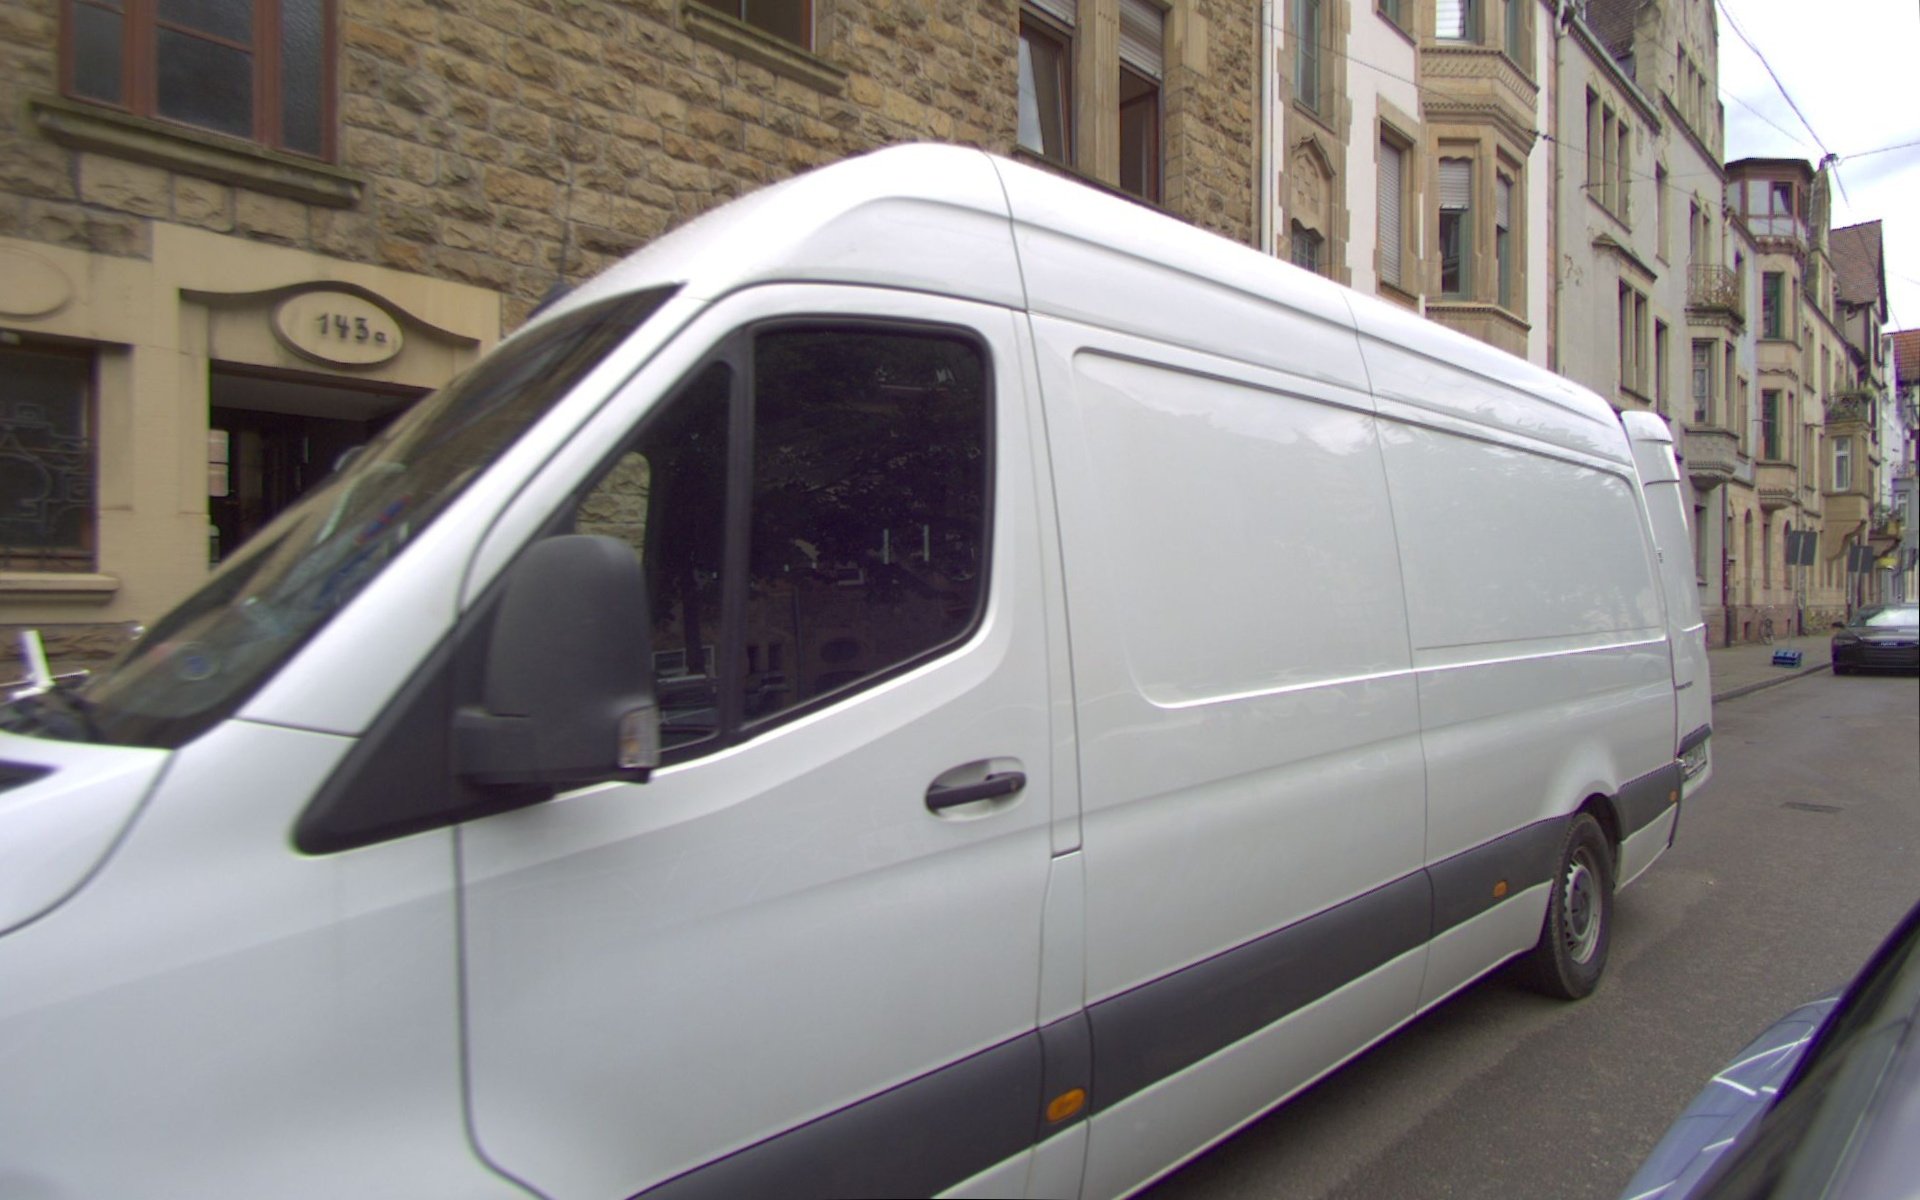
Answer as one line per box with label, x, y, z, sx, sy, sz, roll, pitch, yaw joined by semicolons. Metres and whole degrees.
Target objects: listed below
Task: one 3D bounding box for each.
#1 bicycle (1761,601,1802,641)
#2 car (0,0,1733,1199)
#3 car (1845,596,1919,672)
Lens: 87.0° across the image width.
bicycle;24.077;0.605;29.646;1.883;1.141;0.611;0;-3;-43
car;0.455;0.193;3.408;6.894;2.582;2.016;0;-2;-41
car;20.261;0.653;21.384;5.107;1.456;1.803;0;0;-43
